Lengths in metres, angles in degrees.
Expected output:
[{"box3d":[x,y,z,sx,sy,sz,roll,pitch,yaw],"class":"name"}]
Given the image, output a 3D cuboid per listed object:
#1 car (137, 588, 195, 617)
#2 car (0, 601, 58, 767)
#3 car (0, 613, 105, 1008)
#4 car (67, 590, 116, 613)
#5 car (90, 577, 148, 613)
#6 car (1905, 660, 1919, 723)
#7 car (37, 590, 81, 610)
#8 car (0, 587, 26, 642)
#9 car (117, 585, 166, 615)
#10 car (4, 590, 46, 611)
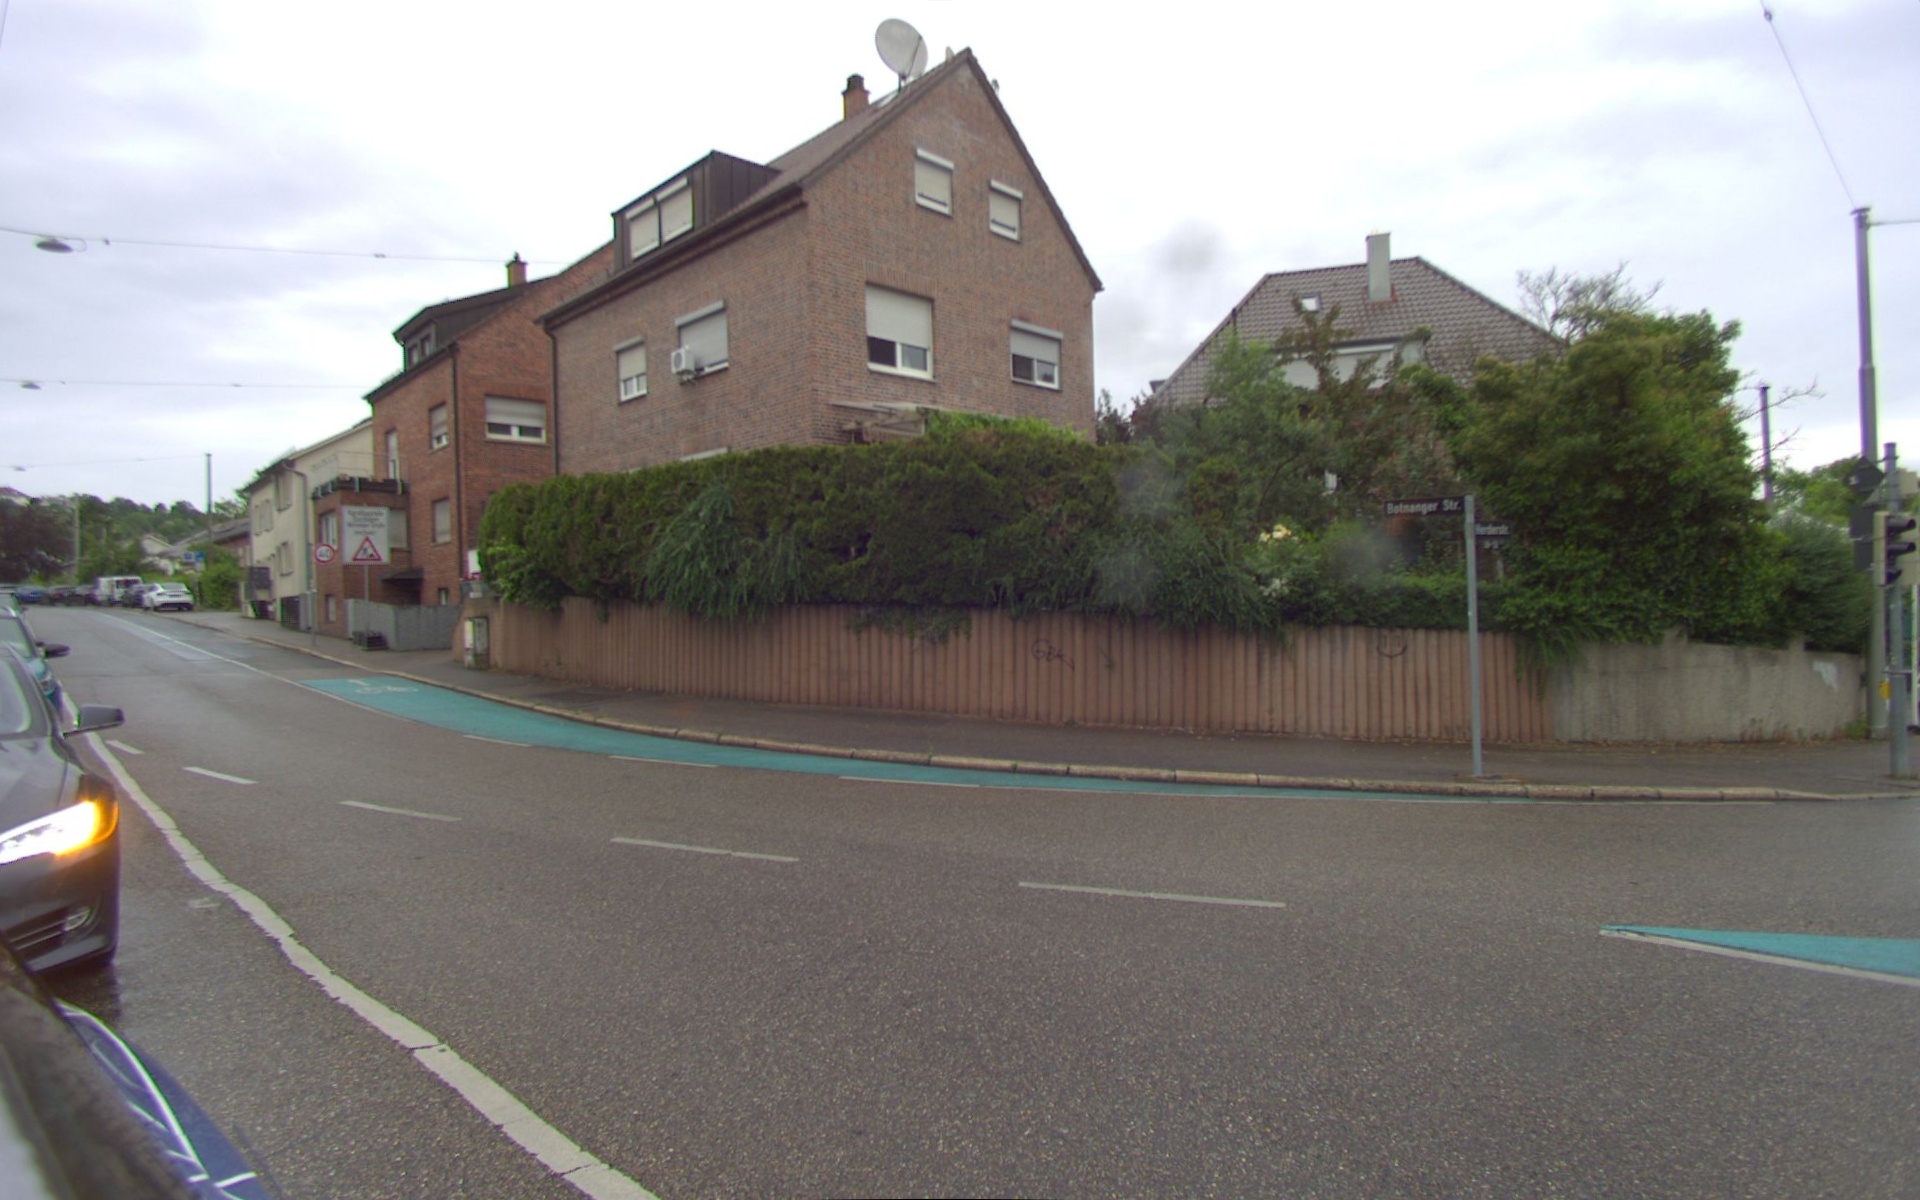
[{"box3d":[-46.428,0.151,59.140,4.262,1.577,1.921,0,2,42],"class":"car"},{"box3d":[-10.928,0.816,10.768,3.785,1.601,1.765,0,0,45],"class":"car"},{"box3d":[-5.406,0.799,4.709,4.002,1.426,1.845,0,0,45],"class":"car"},{"box3d":[-61.477,0.109,71.608,4.002,1.501,1.636,-1,2,34],"class":"car"},{"box3d":[-57.023,-0.333,68.591,4.544,2.303,2.229,0,2,41],"class":"car"},{"box3d":[25.786,2.288,24.715,1.837,1.644,4.297,-1,-3,11],"class":"car"},{"box3d":[-66.582,0.011,74.764,3.854,1.407,1.634,-1,2,36],"class":"car"},{"box3d":[-32.677,0.536,33.935,4.001,1.744,1.792,-3,-2,44],"class":"car"},{"box3d":[-52.376,-0.022,64.733,4.262,1.817,1.791,0,2,42],"class":"car"},{"box3d":[-71.243,0.037,77.127,3.895,1.501,1.605,-1,2,36],"class":"car"}]
